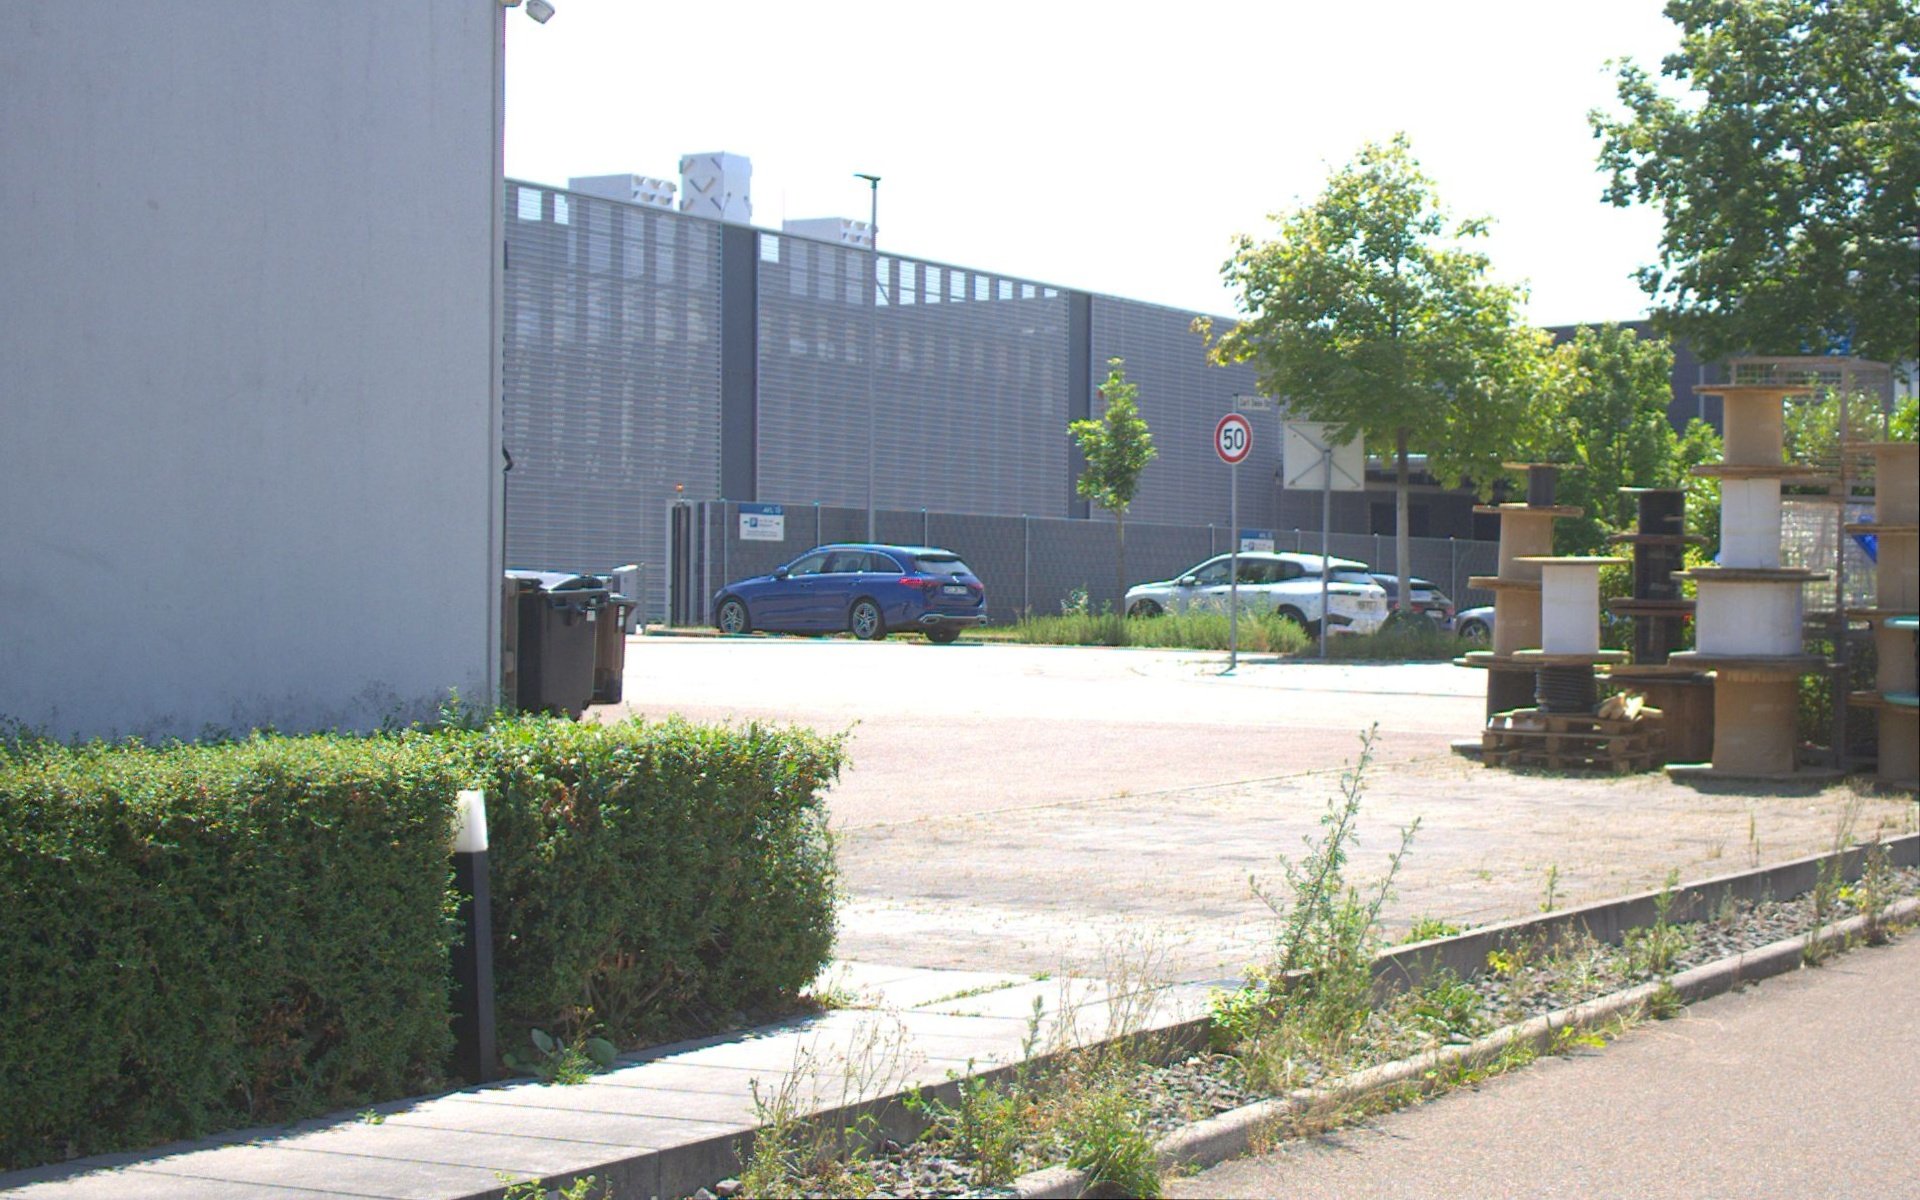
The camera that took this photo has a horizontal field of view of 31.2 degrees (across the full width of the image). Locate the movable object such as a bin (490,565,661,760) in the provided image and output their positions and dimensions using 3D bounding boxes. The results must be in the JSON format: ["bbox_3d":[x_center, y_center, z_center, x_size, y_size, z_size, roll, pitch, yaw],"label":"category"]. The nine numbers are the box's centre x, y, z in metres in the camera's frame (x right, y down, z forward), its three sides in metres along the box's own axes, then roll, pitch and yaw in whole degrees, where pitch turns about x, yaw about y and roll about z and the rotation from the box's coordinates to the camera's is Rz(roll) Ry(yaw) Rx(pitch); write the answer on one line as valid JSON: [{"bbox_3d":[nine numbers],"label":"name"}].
[{"bbox_3d":[-2.723,0.428,24.352,0.812,1.340,0.882,1,0,35],"label":"movable object such as a bin"}]

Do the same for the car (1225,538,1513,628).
[{"bbox_3d":[7.283,-0.335,61.556,4.851,1.486,1.995,2,2,43],"label":"car"}]

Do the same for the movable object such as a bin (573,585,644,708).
[{"bbox_3d":[-2.986,0.396,29.231,0.576,1.033,0.425,1,0,-4],"label":"movable object such as a bin"}]

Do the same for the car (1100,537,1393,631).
[{"bbox_3d":[4.927,-0.312,59.583,4.851,1.486,1.995,2,2,43],"label":"car"}]

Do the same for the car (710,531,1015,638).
[{"bbox_3d":[-1.511,-0.273,52.177,4.511,1.486,1.995,2,2,43],"label":"car"}]
